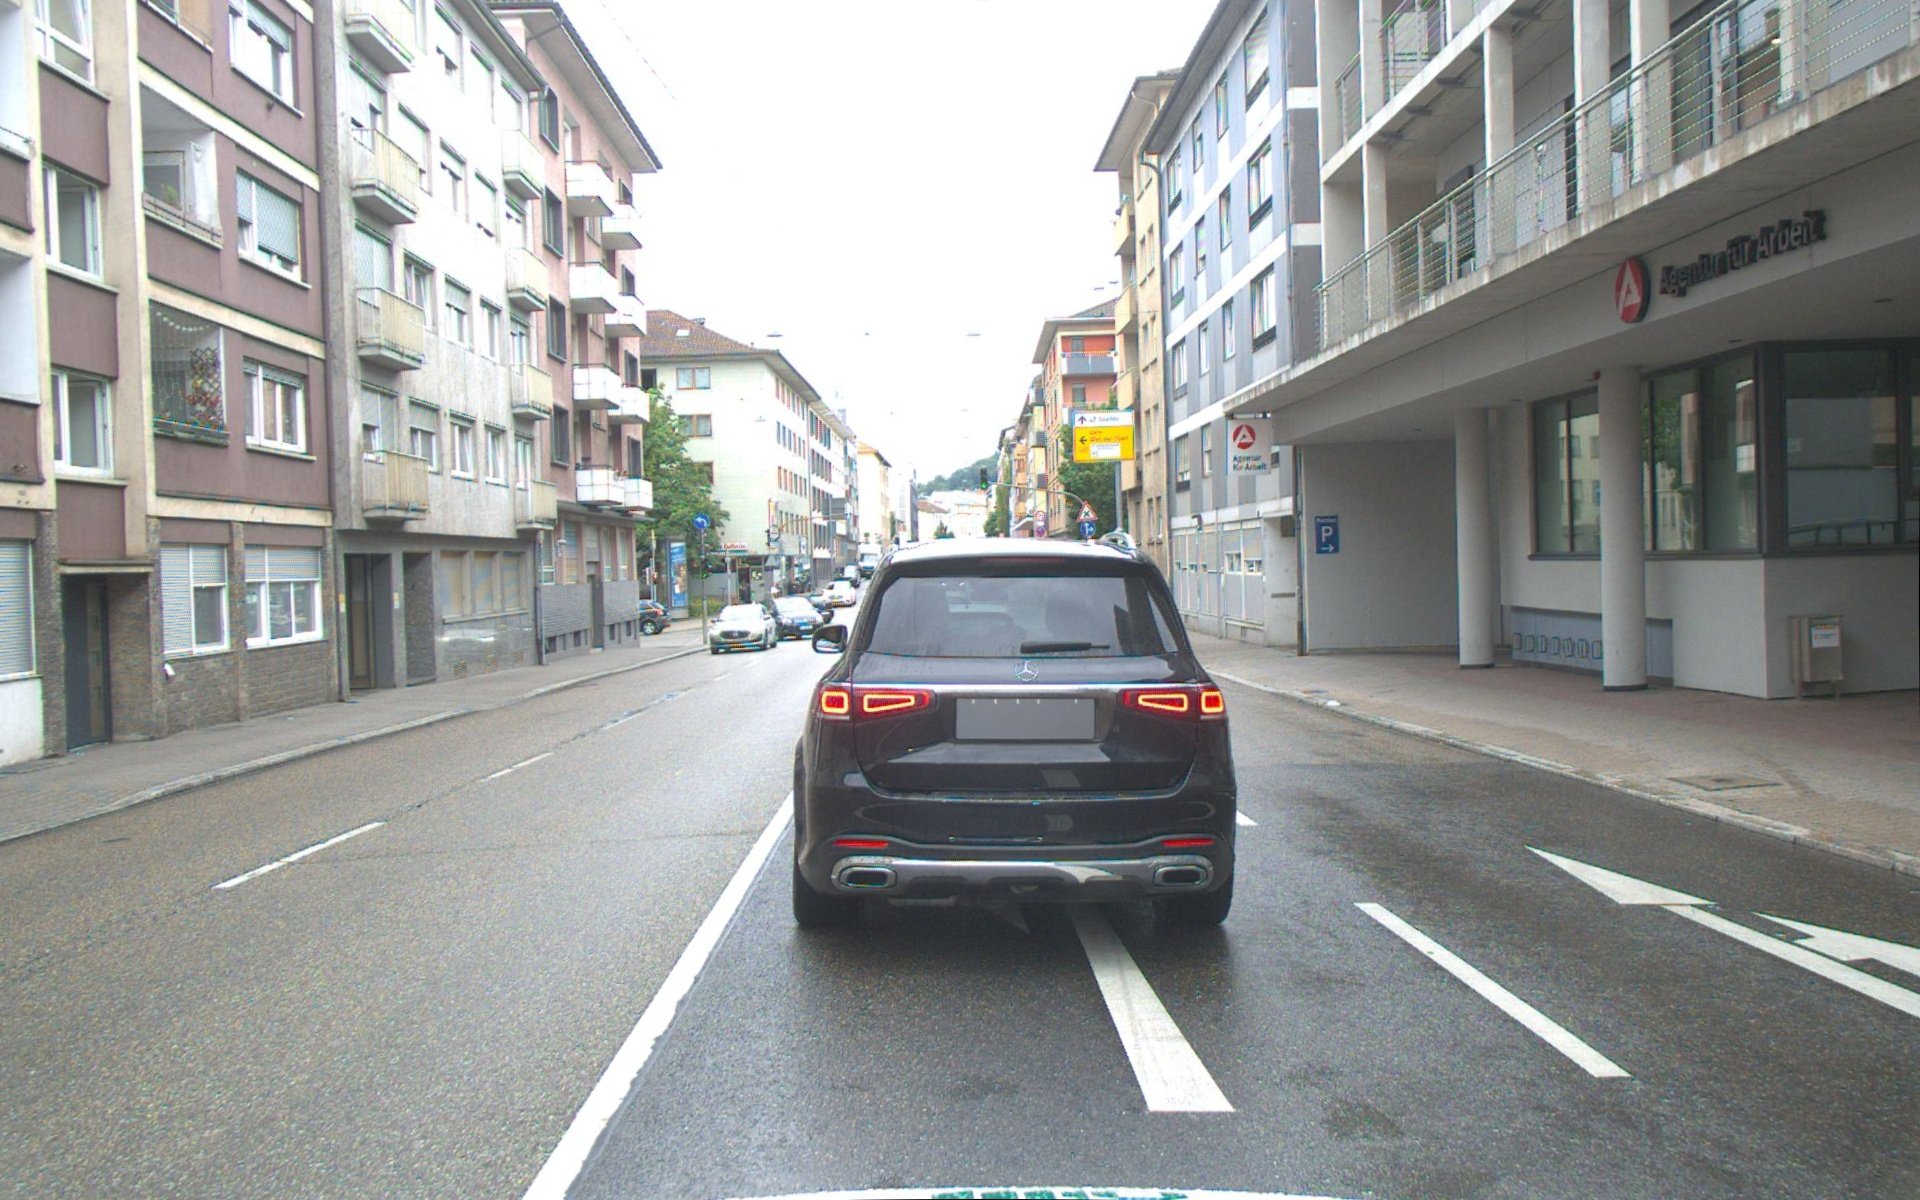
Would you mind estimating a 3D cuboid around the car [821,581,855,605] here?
[{"bbox_3d":[-7.284,-0.386,98.998,1.848,1.286,4.215,-3,0,-3],"label":"car"}]

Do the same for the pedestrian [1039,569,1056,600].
[{"bbox_3d":[5.384,-0.941,101.911,0.905,1.836,0.706,-2,0,-3],"label":"pedestrian"}]

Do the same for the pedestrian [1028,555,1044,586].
[{"bbox_3d":[5.031,-1.966,109.594,0.905,2.049,0.706,-2,0,-3],"label":"pedestrian"}]

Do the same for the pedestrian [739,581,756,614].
[{"bbox_3d":[-12.926,-0.140,100.601,0.905,1.935,0.706,-2,0,-3],"label":"pedestrian"}]

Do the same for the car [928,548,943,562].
[{"bbox_3d":[-3.176,-5.791,212.904,1.586,1.565,4.217,-3,3,-3],"label":"car"}]

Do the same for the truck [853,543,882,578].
[{"bbox_3d":[-8.680,-3.736,155.620,2.430,3.098,9.915,-3,2,-3],"label":"truck"}]

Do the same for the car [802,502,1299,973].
[{"bbox_3d":[0.328,0.556,8.717,1.944,1.836,4.389,1,0,-1],"label":"car"}]

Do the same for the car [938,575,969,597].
[{"bbox_3d":[-0.475,-0.952,115.115,1.953,1.375,3.999,-3,0,-2],"label":"car"}]

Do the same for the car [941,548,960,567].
[{"bbox_3d":[-1.000,-4.407,172.010,1.689,1.790,4.216,-3,3,-3],"label":"car"}]

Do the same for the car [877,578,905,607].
[{"bbox_3d":[-4.164,-0.443,99.846,1.586,1.566,4.215,-3,0,-3],"label":"car"}]

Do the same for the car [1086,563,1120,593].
[{"bbox_3d":[8.058,-1.221,93.440,1.636,1.616,3.331,-2,0,1],"label":"car"}]

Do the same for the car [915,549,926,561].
[{"bbox_3d":[-5.947,-6.774,248.789,1.586,1.566,4.216,-3,3,-3],"label":"car"}]

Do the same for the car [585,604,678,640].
[{"bbox_3d":[-16.384,1.089,82.693,4.115,1.566,1.822,-4,0,8],"label":"car"}]

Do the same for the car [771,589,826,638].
[{"bbox_3d":[-6.274,0.493,63.904,1.740,1.674,4.402,-4,1,-9],"label":"car"}]

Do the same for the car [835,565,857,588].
[{"bbox_3d":[-8.967,-1.847,130.180,1.586,1.565,4.216,-3,3,-3],"label":"car"}]

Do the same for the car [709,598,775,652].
[{"bbox_3d":[-6.989,0.788,53.356,1.737,1.566,4.355,-3,0,-4],"label":"car"}]
